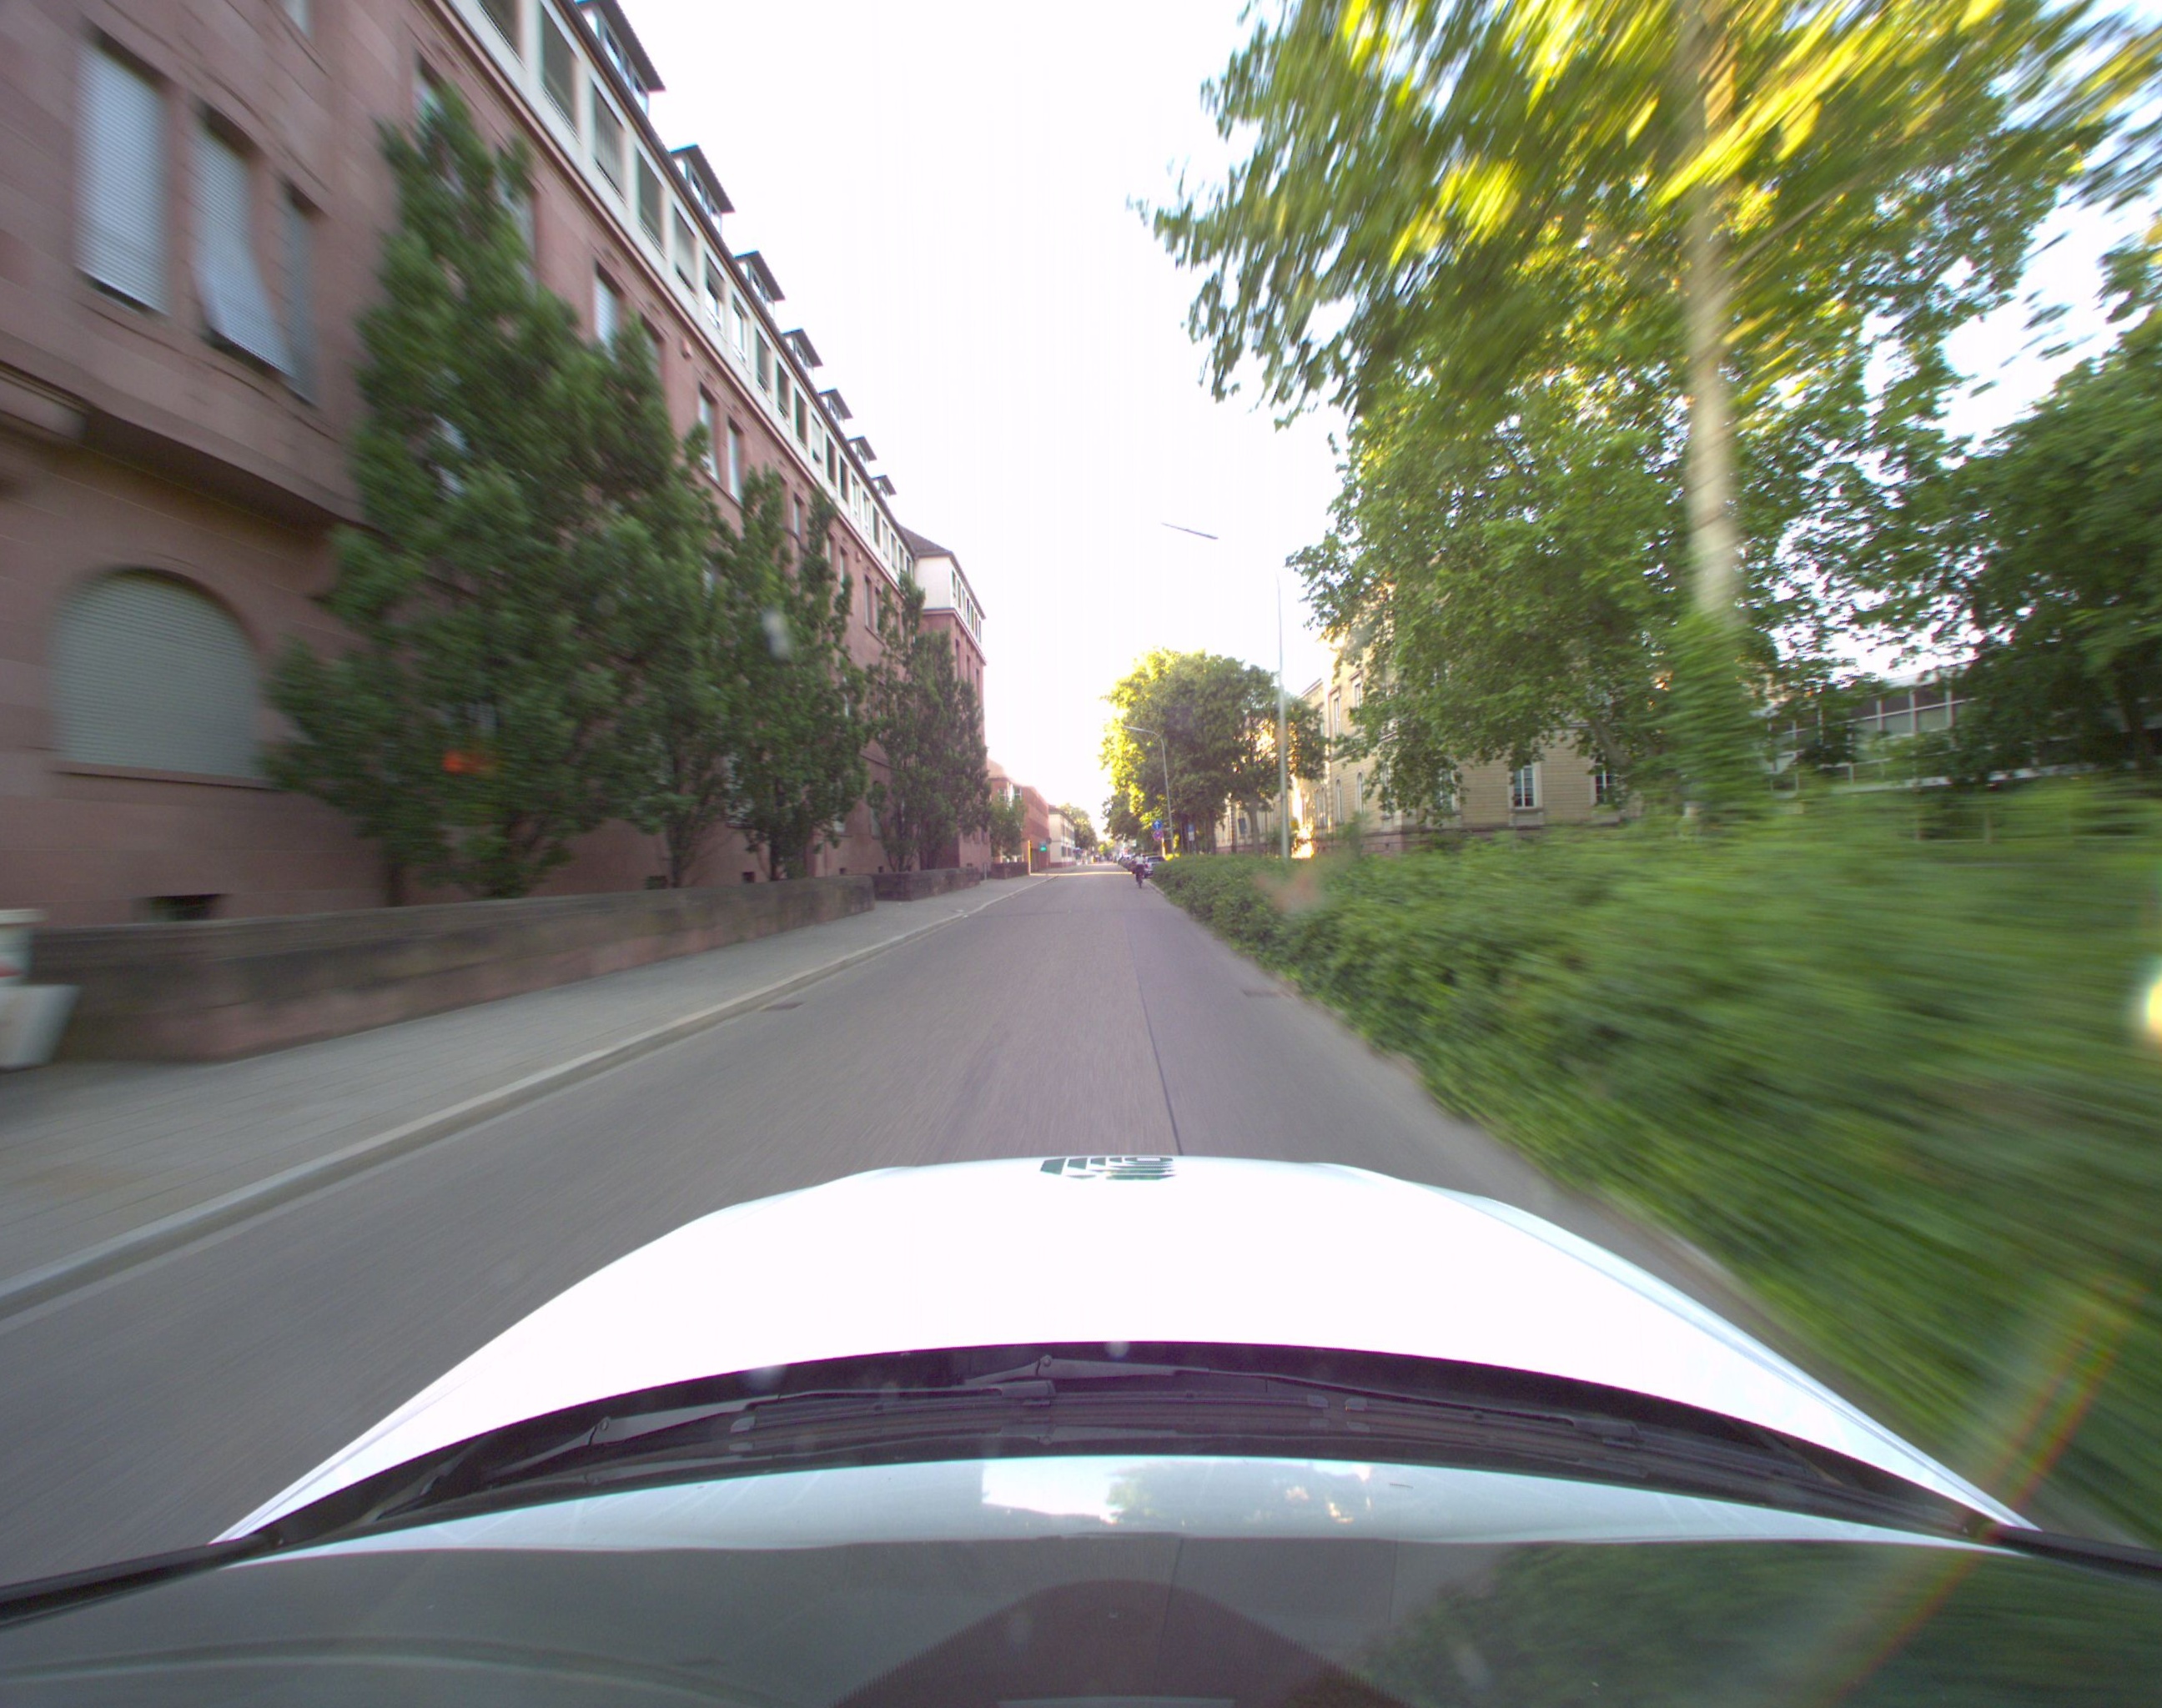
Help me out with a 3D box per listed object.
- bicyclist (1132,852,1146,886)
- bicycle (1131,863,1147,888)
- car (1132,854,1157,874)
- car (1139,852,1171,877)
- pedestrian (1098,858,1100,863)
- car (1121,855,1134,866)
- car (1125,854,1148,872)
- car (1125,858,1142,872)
[{"bbox_3d":[2.856,0.731,40.014,0.637,1.667,0.842,0,0,0],"label":"bicyclist"},{"bbox_3d":[2.859,1.060,40.064,0.636,1.193,1.876,-1,0,0],"label":"bicycle"},{"bbox_3d":[5.209,0.830,67.003,1.710,1.538,4.048,-3,0,0],"label":"car"},{"bbox_3d":[4.793,0.721,53.335,1.680,1.447,3.671,-5,-1,0],"label":"car"},{"bbox_3d":[4.866,1.755,216.961,0.532,1.472,0.448,-3,0,0],"label":"pedestrian"},{"bbox_3d":[8.000,1.106,141.514,1.987,1.749,4.000,-3,0,1],"label":"car"},{"bbox_3d":[5.617,0.862,83.025,1.987,1.706,4.000,-3,0,1],"label":"car"},{"bbox_3d":[6.666,1.420,103.987,1.987,1.585,4.000,-3,0,1],"label":"car"}]
